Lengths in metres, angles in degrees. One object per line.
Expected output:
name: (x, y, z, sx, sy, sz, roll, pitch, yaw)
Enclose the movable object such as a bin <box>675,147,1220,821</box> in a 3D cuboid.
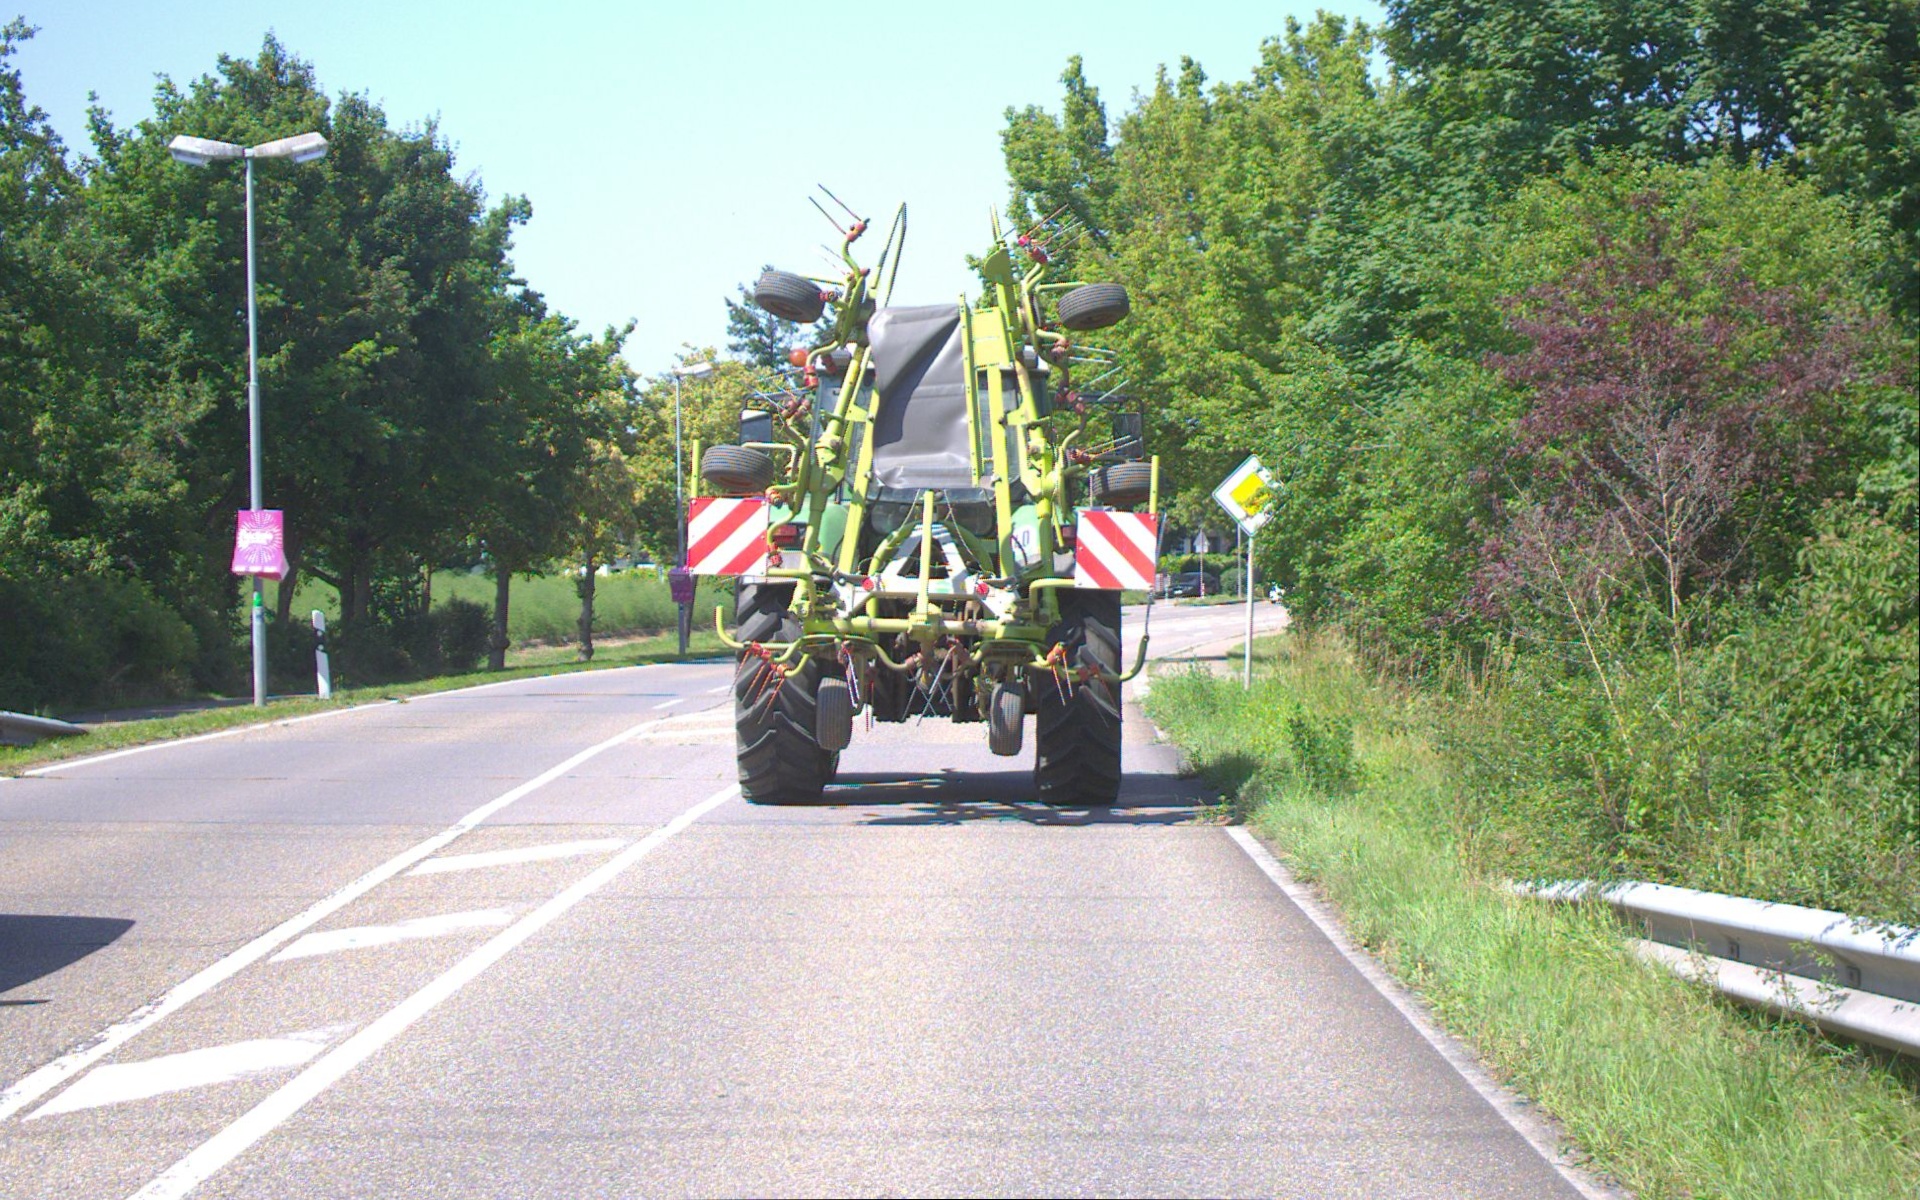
movable object such as a bin: (-0.142, -0.698, 22.958, 2.853, 3.529, 9.701, 0, 1, -1)
